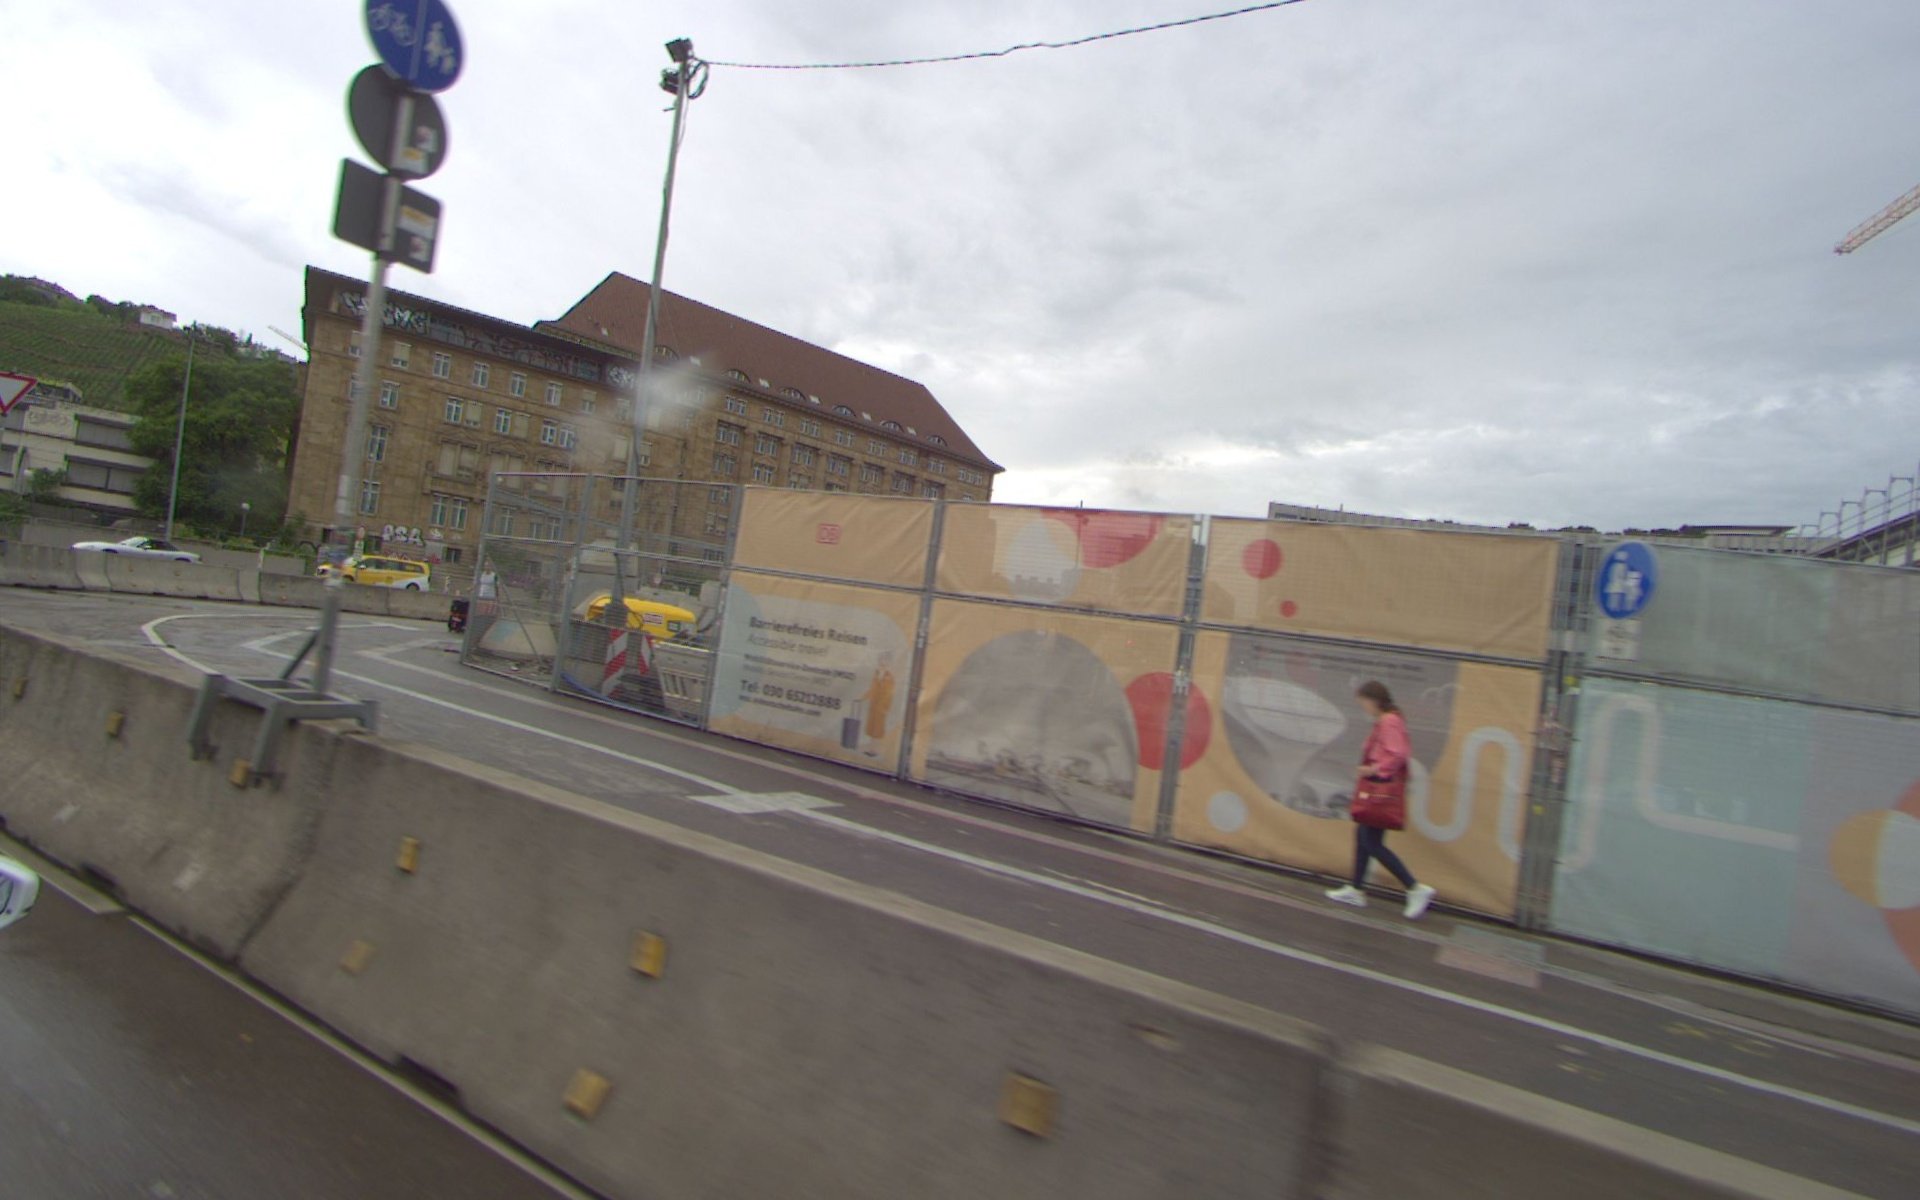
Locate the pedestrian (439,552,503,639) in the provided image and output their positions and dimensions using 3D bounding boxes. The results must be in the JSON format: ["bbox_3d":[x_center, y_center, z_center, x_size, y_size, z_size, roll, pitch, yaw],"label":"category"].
[{"bbox_3d":[-11.536,-0.092,23.761,0.987,1.886,0.777,8,-1,-14],"label":"pedestrian"}]

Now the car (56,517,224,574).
[{"bbox_3d":[-30.634,-2.011,37.746,1.615,1.324,4.527,7,-3,30],"label":"car"}]

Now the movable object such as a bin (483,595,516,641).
[{"bbox_3d":[-11.025,0.435,24.089,0.511,1.028,0.552,8,-2,-15],"label":"movable object such as a bin"}]

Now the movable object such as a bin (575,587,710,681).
[{"bbox_3d":[-5.707,0.635,18.175,1.169,1.488,1.890,5,-1,35],"label":"movable object such as a bin"}]

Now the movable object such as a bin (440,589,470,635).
[{"bbox_3d":[-12.034,0.282,23.976,0.425,1.028,0.521,8,-2,-15],"label":"movable object such as a bin"}]

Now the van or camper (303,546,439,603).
[{"bbox_3d":[-30.697,-1.293,52.655,2.209,2.077,5.603,7,-3,31],"label":"van or camper"}]

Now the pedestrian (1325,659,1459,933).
[{"bbox_3d":[3.335,1.460,7.737,0.697,1.887,0.721,7,-2,28],"label":"pedestrian"}]
